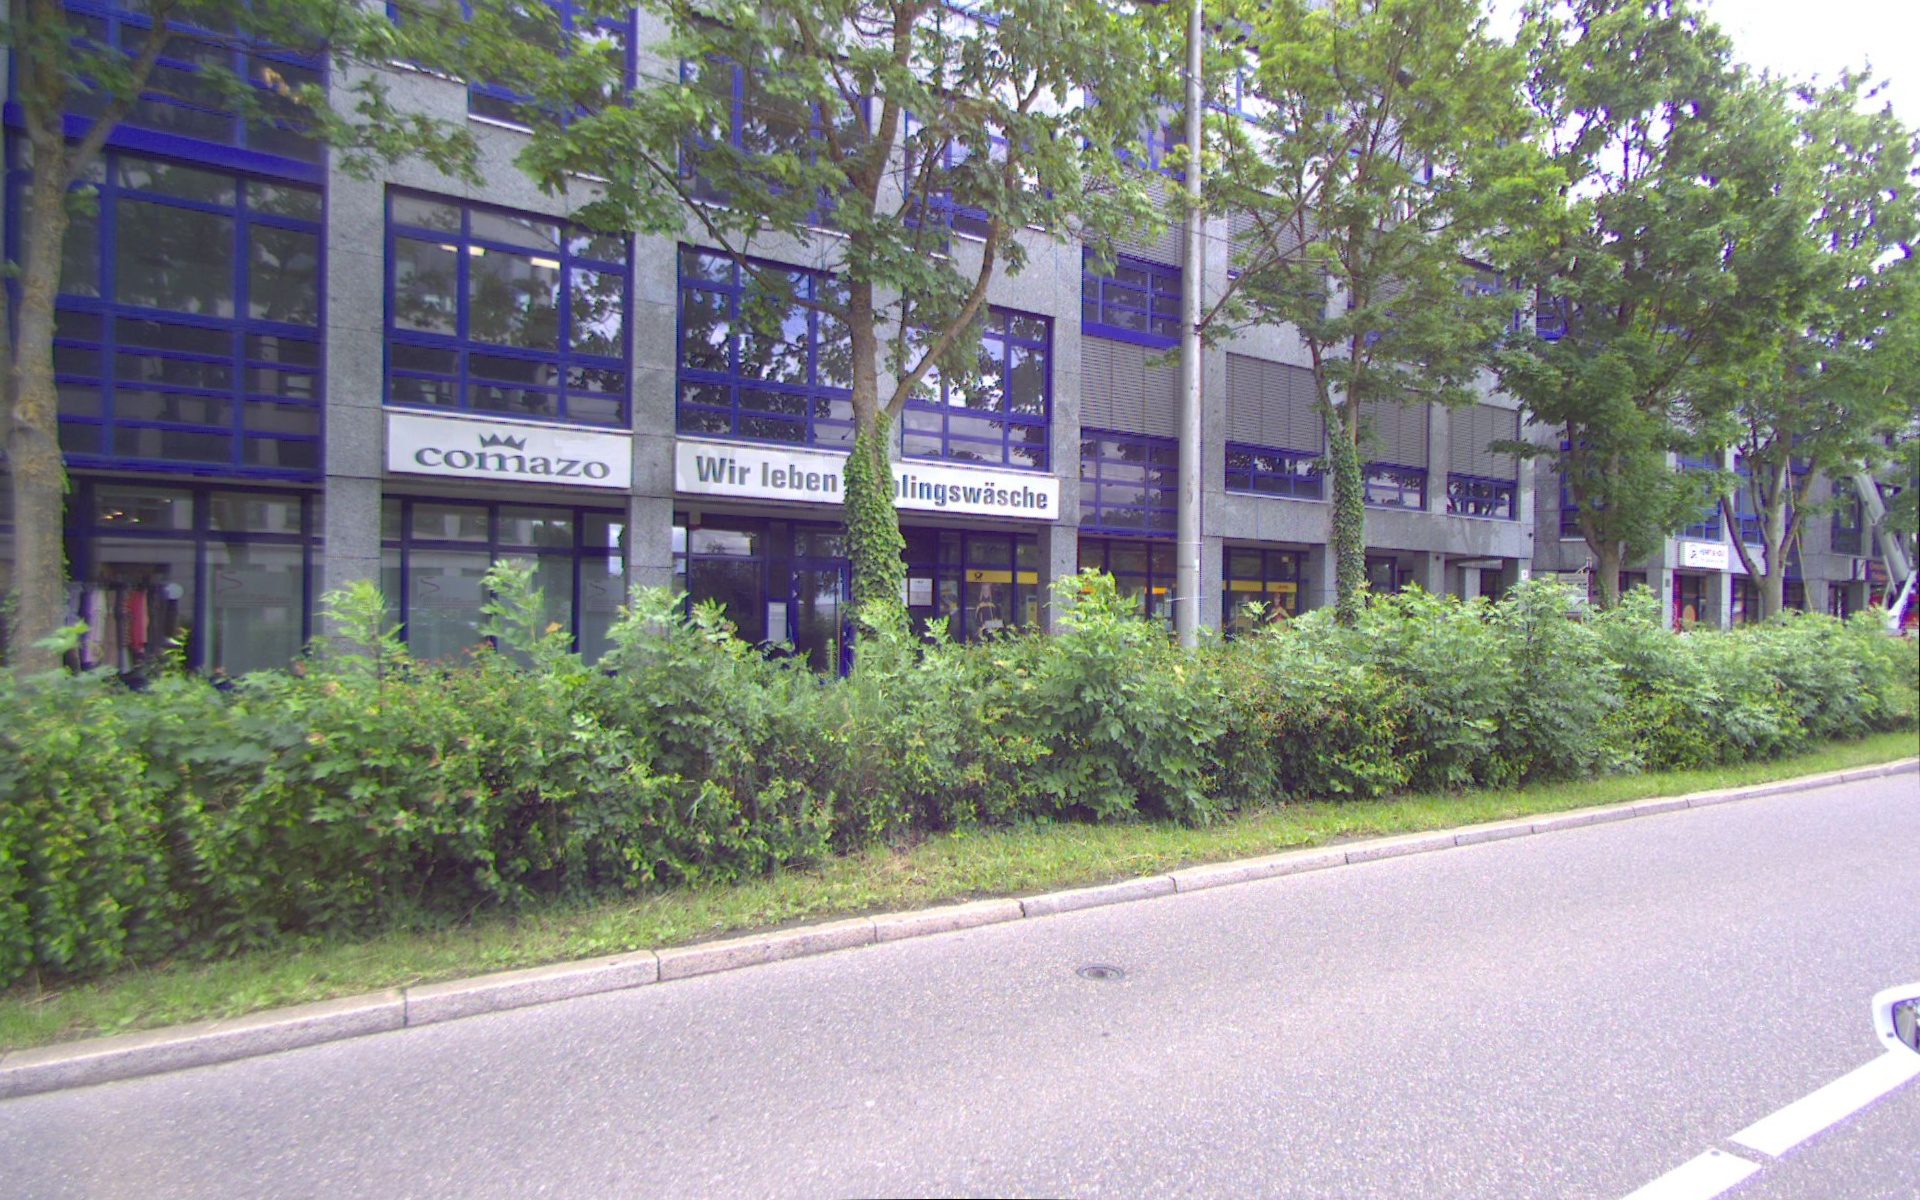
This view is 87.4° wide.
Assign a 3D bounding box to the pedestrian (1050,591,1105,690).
[{"bbox_3d":[2.334,0.798,19.949,0.723,1.919,0.771,2,0,-30],"label":"pedestrian"}]
